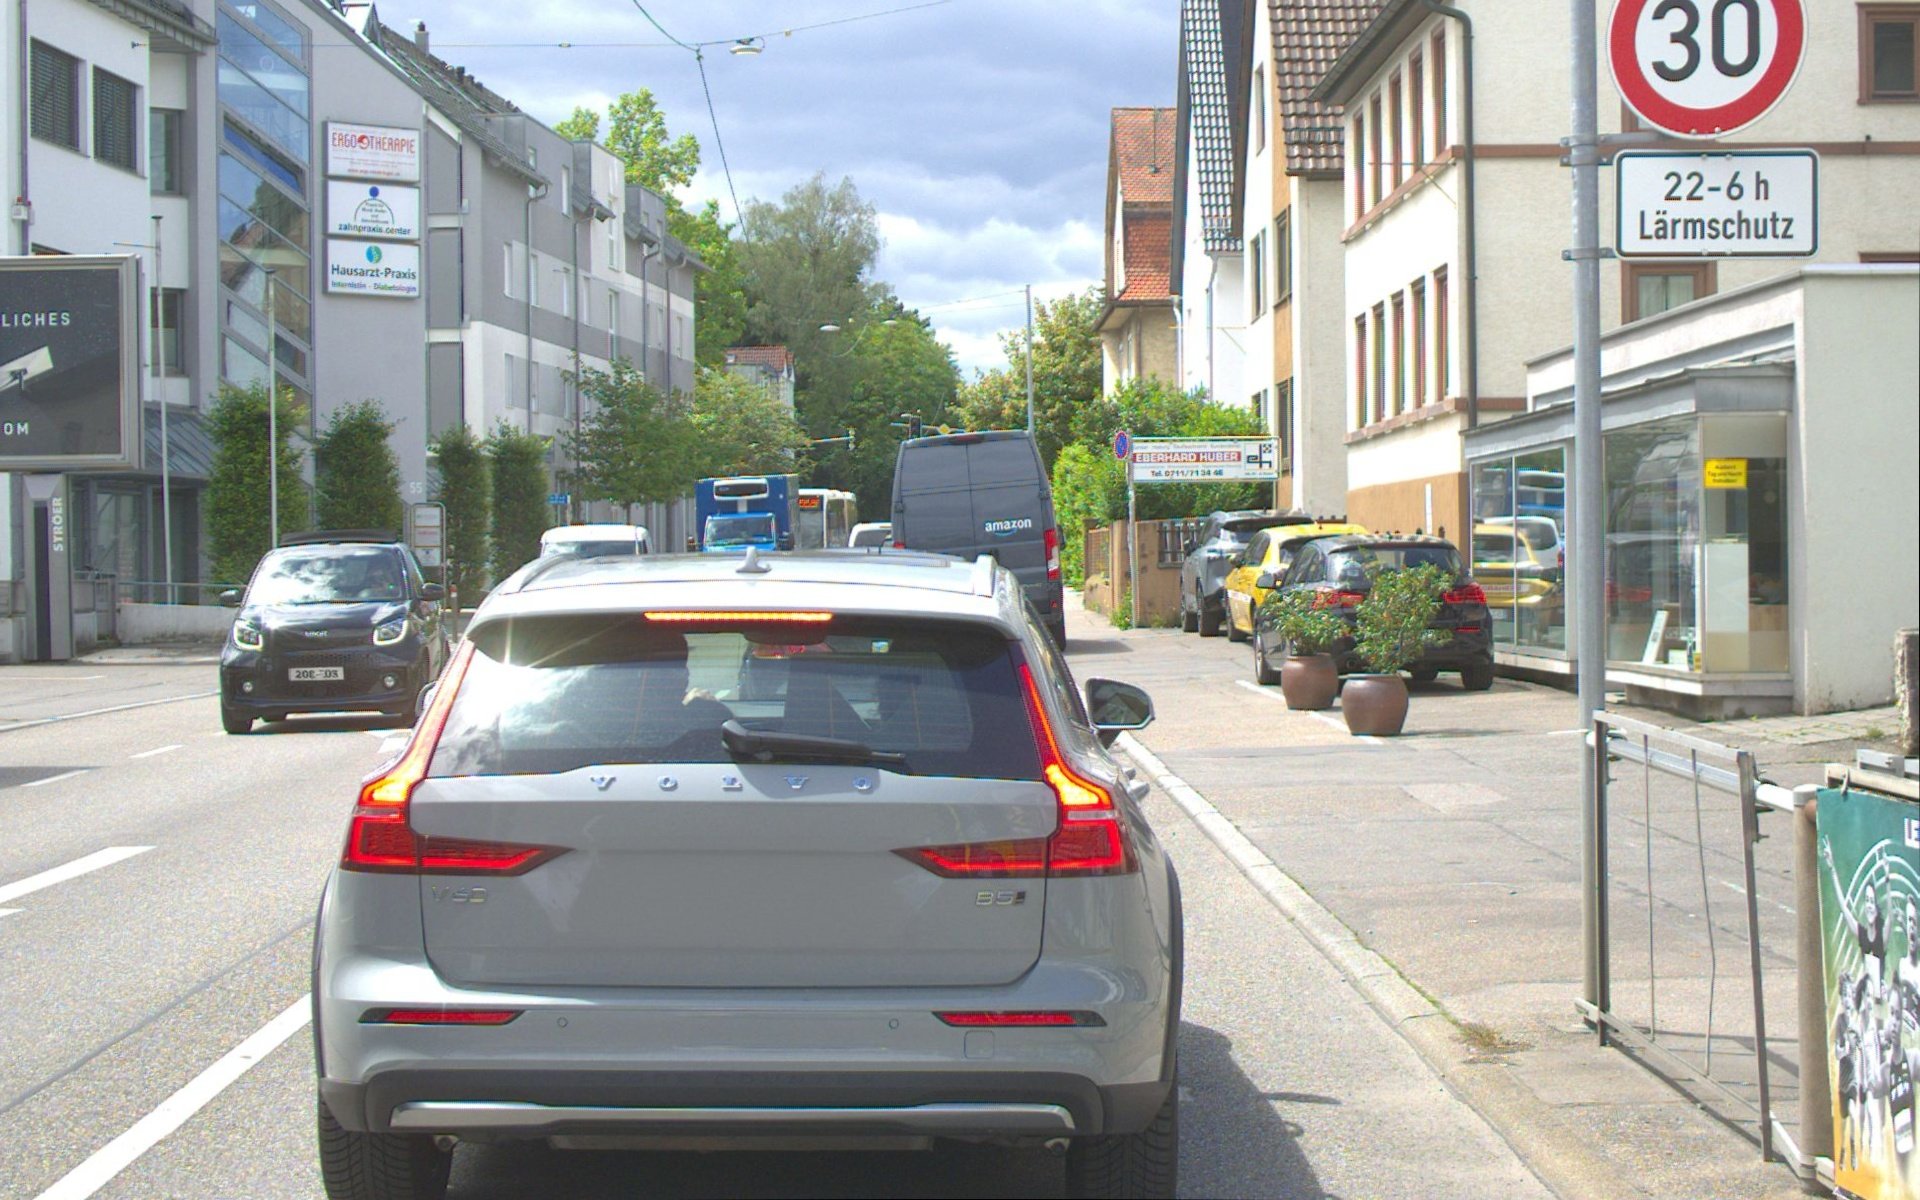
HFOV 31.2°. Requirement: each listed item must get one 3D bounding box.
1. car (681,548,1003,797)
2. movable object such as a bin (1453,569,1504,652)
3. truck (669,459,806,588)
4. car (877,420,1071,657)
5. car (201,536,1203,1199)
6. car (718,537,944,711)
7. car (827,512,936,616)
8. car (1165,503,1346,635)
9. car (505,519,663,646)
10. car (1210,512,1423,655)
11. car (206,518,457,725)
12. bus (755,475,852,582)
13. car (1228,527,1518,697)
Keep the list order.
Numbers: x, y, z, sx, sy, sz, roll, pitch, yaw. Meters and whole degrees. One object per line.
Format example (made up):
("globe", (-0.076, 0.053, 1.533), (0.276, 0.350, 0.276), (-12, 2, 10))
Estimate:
("car", (-0.674, 0.397, 22.263), (1.896, 1.441, 3.969), (0, 1, 1))
("movable object such as a bin", (5.846, 0.116, 38.757), (0.501, 0.922, 0.598), (-1, 1, 3))
("truck", (-5.583, -1.930, 87.461), (2.853, 3.082, 8.089), (-1, 1, 0))
("car", (0.139, -0.785, 43.817), (2.252, 2.786, 5.569), (-1, 1, -1))
("car", (-0.453, 0.575, 8.502), (1.896, 1.448, 3.968), (0, 1, 1))
("car", (-1.119, 0.168, 30.837), (1.896, 1.441, 3.969), (0, 1, -1))
("car", (-1.542, -0.734, 68.586), (1.993, 2.007, 4.000), (0, 1, 1))
("car", (3.860, -0.441, 45.603), (1.860, 1.606, 4.586), (-2, 1, -1))
("car", (-5.631, -0.294, 51.936), (1.945, 1.814, 4.279), (-1, 1, -1))
("car", (4.167, -0.243, 40.818), (1.877, 1.442, 4.308), (-1, 3, -2))
("car", (-5.241, 0.144, 28.951), (1.676, 1.629, 2.834), (-1, 1, -2))
("bus", (-4.854, -2.232, 107.997), (2.682, 3.153, 10.185), (-1, 1, -1))
("car", (3.790, 0.057, 32.311), (1.968, 1.442, 4.536), (-1, 1, -2))
